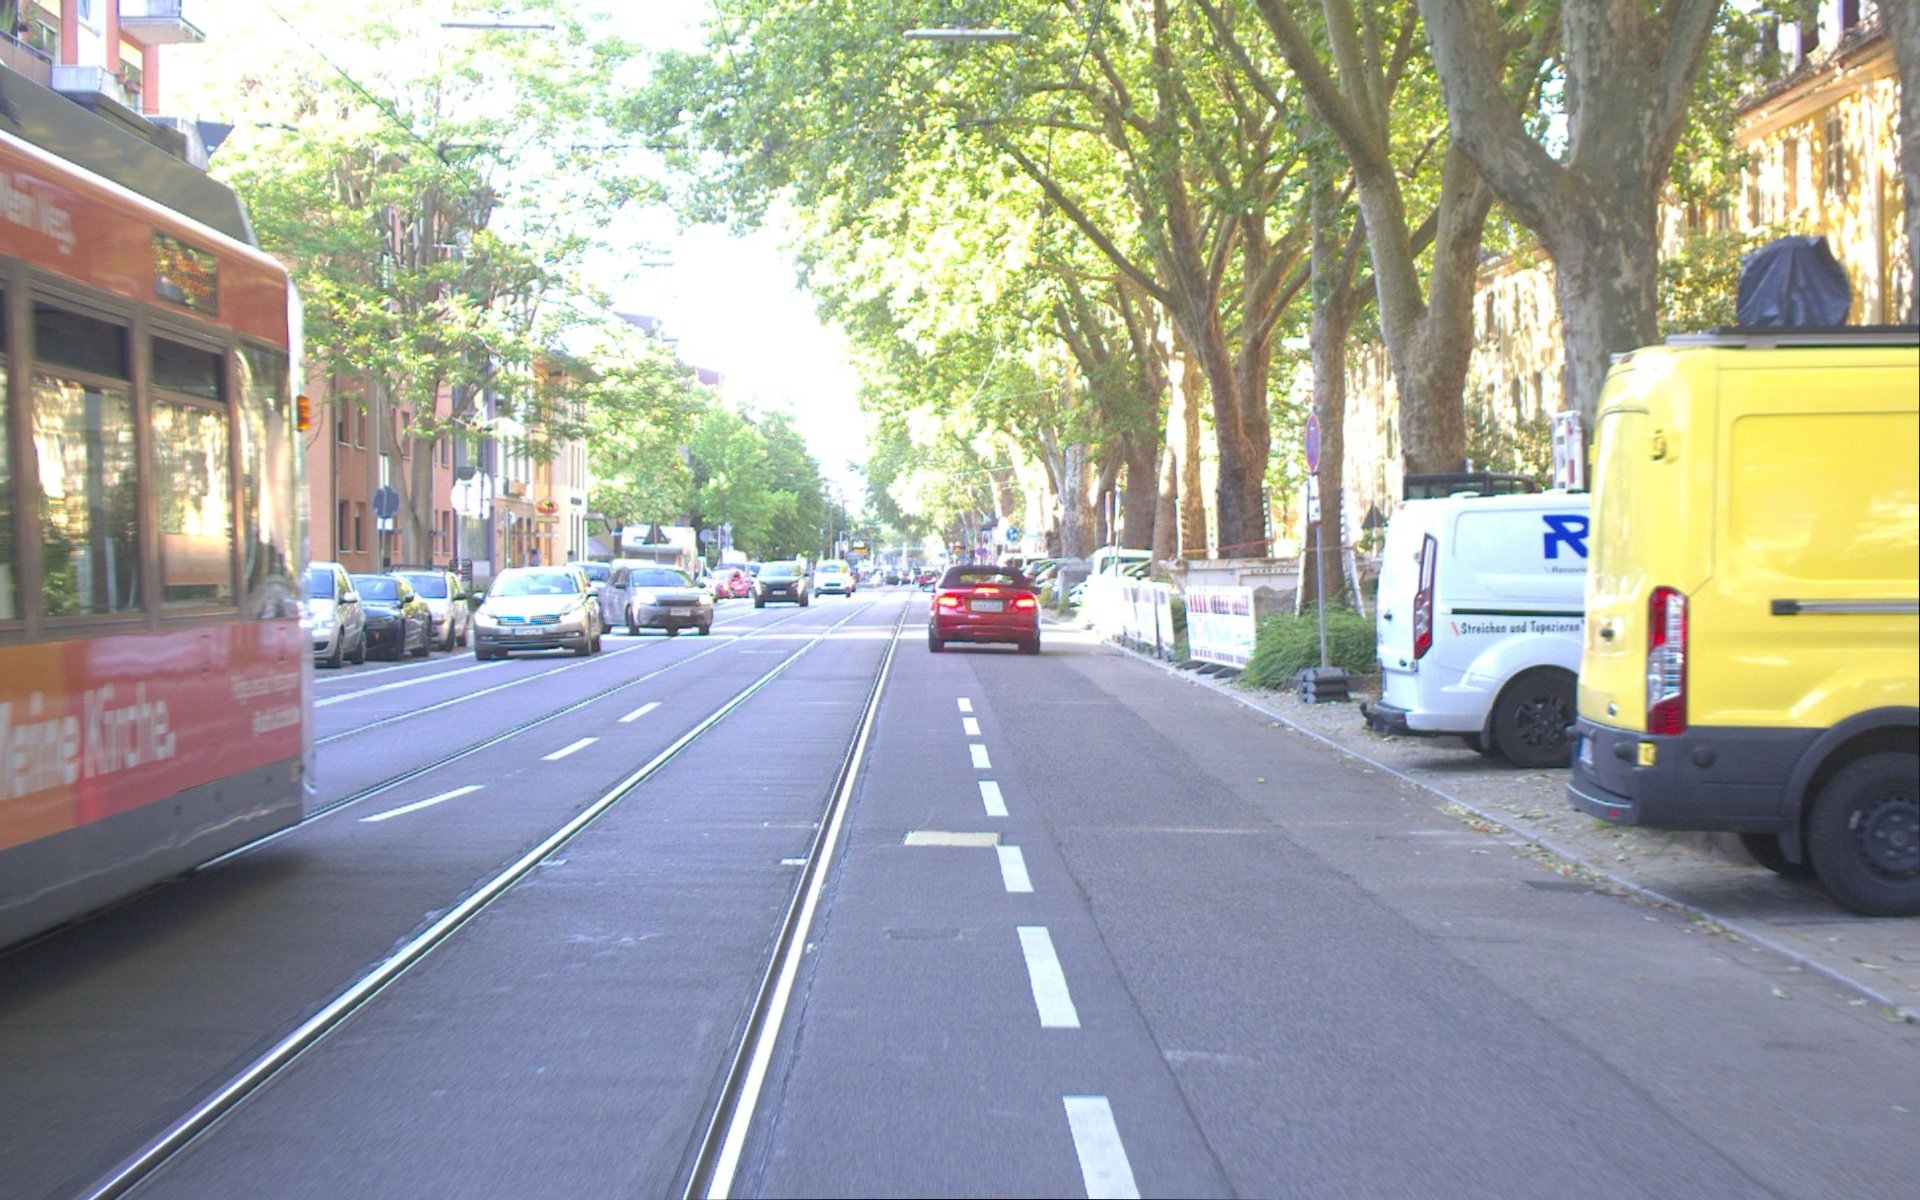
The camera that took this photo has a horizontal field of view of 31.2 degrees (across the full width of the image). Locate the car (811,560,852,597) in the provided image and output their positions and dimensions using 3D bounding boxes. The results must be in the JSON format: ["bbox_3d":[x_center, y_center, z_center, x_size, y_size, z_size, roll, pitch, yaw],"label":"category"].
[{"bbox_3d":[-6.357,-1.071,170.284,1.891,1.826,4.895,0,0,-1],"label":"car"}]

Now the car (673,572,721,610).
[{"bbox_3d":[-11.234,-0.395,147.157,1.836,1.463,5.070,3,0,-3],"label":"car"}]

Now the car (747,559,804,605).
[{"bbox_3d":[-6.636,-0.653,124.029,1.853,1.595,4.464,2,0,-1],"label":"car"}]

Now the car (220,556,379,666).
[{"bbox_3d":[-10.118,0.147,52.911,1.819,1.581,4.006,1,0,-3],"label":"car"}]

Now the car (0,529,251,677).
[{"bbox_3d":[-10.124,0.035,42.083,1.952,1.643,4.882,2,0,-2],"label":"car"}]

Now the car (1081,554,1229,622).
[{"bbox_3d":[5.140,-0.317,90.705,3.844,1.766,1.916,0,0,4],"label":"car"}]

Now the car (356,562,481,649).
[{"bbox_3d":[-9.946,0.085,63.351,1.725,1.478,3.930,3,0,-2],"label":"car"}]

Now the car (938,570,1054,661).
[{"bbox_3d":[0.563,0.223,56.007,1.792,1.384,4.236,2,0,0],"label":"car"}]

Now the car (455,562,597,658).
[{"bbox_3d":[-7.035,0.140,56.128,1.795,1.441,4.717,2,0,-2],"label":"car"}]

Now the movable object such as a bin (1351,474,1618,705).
[{"bbox_3d":[5.441,-0.119,35.400,1.484,2.261,3.270,1,1,33],"label":"movable object such as a bin"}]

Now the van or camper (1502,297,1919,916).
[{"bbox_3d":[5.589,0.035,15.648,5.926,2.620,2.270,0,-1,2],"label":"van or camper"}]

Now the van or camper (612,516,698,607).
[{"bbox_3d":[-10.952,-1.371,123.941,2.337,3.030,6.397,4,0,0],"label":"van or camper"}]

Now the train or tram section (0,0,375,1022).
[{"bbox_3d":[-4.396,-0.448,10.656,2.908,3.474,14.199,0,0,-1],"label":"train or tram section"}]

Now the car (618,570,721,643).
[{"bbox_3d":[-6.013,0.116,71.529,1.795,1.441,4.053,-1,1,0],"label":"car"}]

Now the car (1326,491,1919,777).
[{"bbox_3d":[5.221,0.226,25.234,4.834,2.006,2.063,0,1,0],"label":"car"}]

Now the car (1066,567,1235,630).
[{"bbox_3d":[4.765,-0.031,86.423,4.087,1.516,1.917,0,0,-1],"label":"car"}]

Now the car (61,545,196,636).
[{"bbox_3d":[-20.201,-0.235,83.411,1.993,2.116,4.723,1,0,-29],"label":"car"}]

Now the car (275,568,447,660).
[{"bbox_3d":[-10.032,0.215,57.938,1.952,1.390,4.863,3,0,0],"label":"car"}]

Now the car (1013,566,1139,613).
[{"bbox_3d":[4.249,-0.392,125.466,4.497,1.596,2.027,-1,0,4],"label":"car"}]
